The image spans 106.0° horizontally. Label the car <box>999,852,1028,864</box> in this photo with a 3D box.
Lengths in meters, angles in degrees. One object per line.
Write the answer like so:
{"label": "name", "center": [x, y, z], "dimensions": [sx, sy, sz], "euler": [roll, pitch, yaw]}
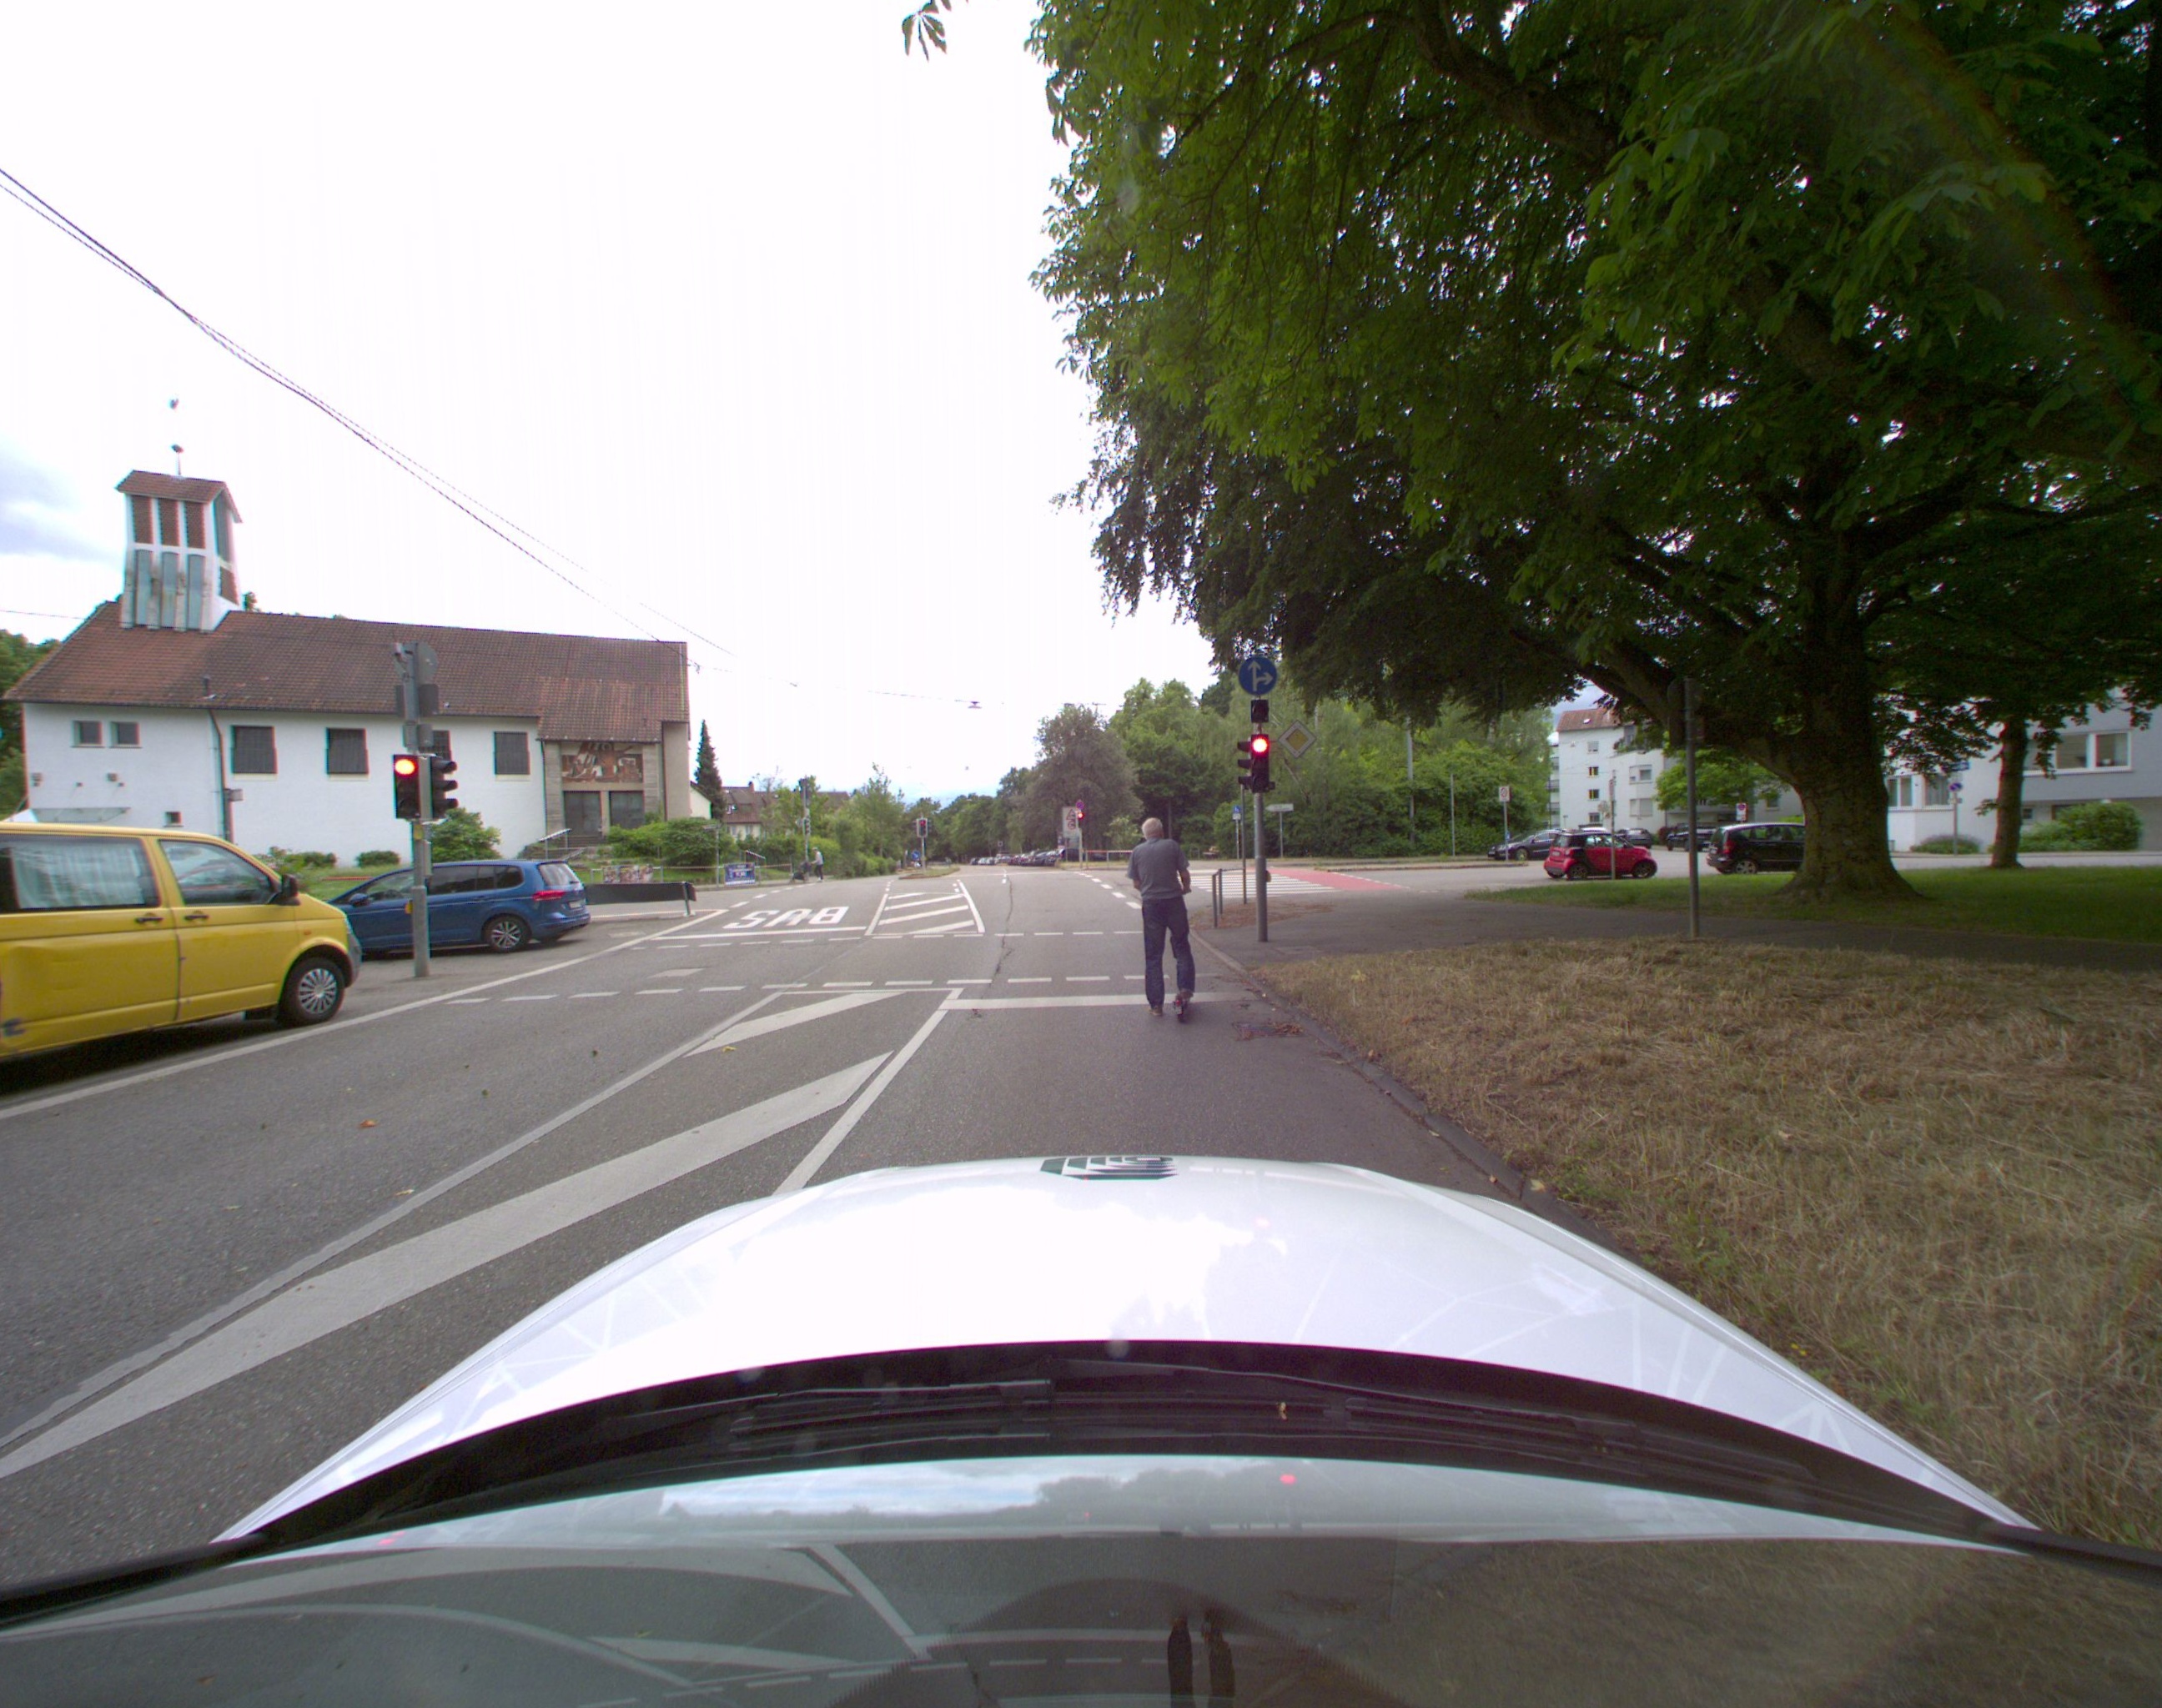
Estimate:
{"label": "car", "center": [-10.128, 0.624, 122.352], "dimensions": [3.856, 1.610, 1.716], "euler": [-3, 0, -21]}

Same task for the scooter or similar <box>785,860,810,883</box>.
{"label": "scooter or similar", "center": [-13.830, 0.841, 39.727], "dimensions": [1.112, 1.081, 0.573], "euler": [-2, 0, -22]}

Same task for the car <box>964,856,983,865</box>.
{"label": "car", "center": [-23.320, 1.432, 176.444], "dimensions": [3.856, 1.610, 1.716], "euler": [-3, 0, -21]}

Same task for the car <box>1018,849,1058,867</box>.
{"label": "car", "center": [-4.603, 0.418, 86.950], "dimensions": [3.856, 1.610, 1.716], "euler": [-3, 0, -21]}

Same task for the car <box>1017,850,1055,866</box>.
{"label": "car", "center": [-4.936, 0.424, 89.373], "dimensions": [3.856, 1.610, 1.716], "euler": [-3, 0, -21]}

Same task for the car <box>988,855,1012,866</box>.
{"label": "car", "center": [-14.332, 1.131, 143.338], "dimensions": [3.856, 1.610, 1.716], "euler": [-3, 0, -21]}

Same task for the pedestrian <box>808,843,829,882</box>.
{"label": "pedestrian", "center": [-12.945, 0.434, 40.130], "dimensions": [0.887, 1.862, 0.570], "euler": [-2, 0, -22]}

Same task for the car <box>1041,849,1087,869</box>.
{"label": "car", "center": [-1.585, 0.428, 75.008], "dimensions": [3.854, 1.610, 1.717], "euler": [-3, 0, -19]}

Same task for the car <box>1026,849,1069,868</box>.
{"label": "car", "center": [-3.281, 0.466, 79.564], "dimensions": [3.856, 1.610, 1.716], "euler": [-3, 0, -21]}

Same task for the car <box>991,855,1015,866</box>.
{"label": "car", "center": [-13.393, 1.123, 139.637], "dimensions": [3.856, 1.610, 1.716], "euler": [-3, 0, -21]}

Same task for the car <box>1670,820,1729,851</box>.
{"label": "car", "center": [35.564, -1.072, 46.924], "dimensions": [1.707, 1.610, 3.875], "euler": [-3, 1, 22]}

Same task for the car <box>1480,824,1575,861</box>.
{"label": "car", "center": [21.107, -0.563, 38.599], "dimensions": [3.498, 1.530, 1.732], "euler": [-3, 0, 8]}

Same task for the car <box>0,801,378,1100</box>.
{"label": "car", "center": [-8.304, 0.681, 6.338], "dimensions": [1.880, 2.013, 4.558], "euler": [-2, 0, -5]}

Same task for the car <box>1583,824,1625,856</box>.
{"label": "car", "center": [28.782, -0.791, 44.890], "dimensions": [1.706, 1.610, 3.878], "euler": [-3, 1, 30]}

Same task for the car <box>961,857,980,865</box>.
{"label": "car", "center": [-24.234, 1.523, 178.805], "dimensions": [3.856, 1.610, 1.716], "euler": [-3, 0, -21]}

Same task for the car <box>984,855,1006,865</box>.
{"label": "car", "center": [-16.349, 1.159, 154.699], "dimensions": [3.856, 1.610, 1.716], "euler": [-3, 0, -21]}

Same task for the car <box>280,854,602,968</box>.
{"label": "car", "center": [-11.069, 0.913, 14.423], "dimensions": [3.992, 1.610, 1.810], "euler": [-3, 0, -14]}

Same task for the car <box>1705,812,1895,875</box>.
{"label": "car", "center": [20.827, -0.298, 23.798], "dimensions": [3.805, 1.610, 1.739], "euler": [-3, 1, 27]}

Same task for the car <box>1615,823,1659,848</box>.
{"label": "car", "center": [38.951, -1.280, 57.135], "dimensions": [1.707, 1.610, 3.875], "euler": [-3, 1, 22]}

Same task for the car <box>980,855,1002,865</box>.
{"label": "car", "center": [-17.326, 1.121, 156.857], "dimensions": [3.856, 1.610, 1.716], "euler": [-3, 0, -21]}

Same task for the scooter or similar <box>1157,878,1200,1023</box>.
{"label": "scooter or similar", "center": [0.913, 0.839, 7.492], "dimensions": [0.280, 1.178, 1.180], "euler": [-2, 0, 10]}

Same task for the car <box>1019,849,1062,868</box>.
{"label": "car", "center": [-4.052, 0.441, 81.619], "dimensions": [3.856, 1.610, 1.716], "euler": [-3, 0, -21]}

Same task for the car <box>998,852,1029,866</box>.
{"label": "car", "center": [-9.054, 0.672, 109.348], "dimensions": [3.856, 1.610, 1.716], "euler": [-3, 0, -21]}

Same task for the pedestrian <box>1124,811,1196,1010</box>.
{"label": "pedestrian", "center": [0.750, 0.519, 7.672], "dimensions": [0.569, 1.813, 0.421], "euler": [-2, 0, 10]}

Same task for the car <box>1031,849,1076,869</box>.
{"label": "car", "center": [-2.594, 0.456, 77.004], "dimensions": [3.857, 1.610, 1.715], "euler": [-3, 1, -22]}

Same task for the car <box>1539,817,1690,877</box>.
{"label": "car", "center": [16.521, -0.210, 25.356], "dimensions": [3.499, 1.610, 1.732], "euler": [-3, 0, 7]}

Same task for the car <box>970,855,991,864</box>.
{"label": "car", "center": [-20.550, 1.141, 166.707], "dimensions": [3.856, 1.610, 1.716], "euler": [-3, 0, -21]}

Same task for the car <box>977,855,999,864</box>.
{"label": "car", "center": [-18.152, 1.127, 159.449], "dimensions": [3.856, 1.610, 1.716], "euler": [-3, 0, -21]}
